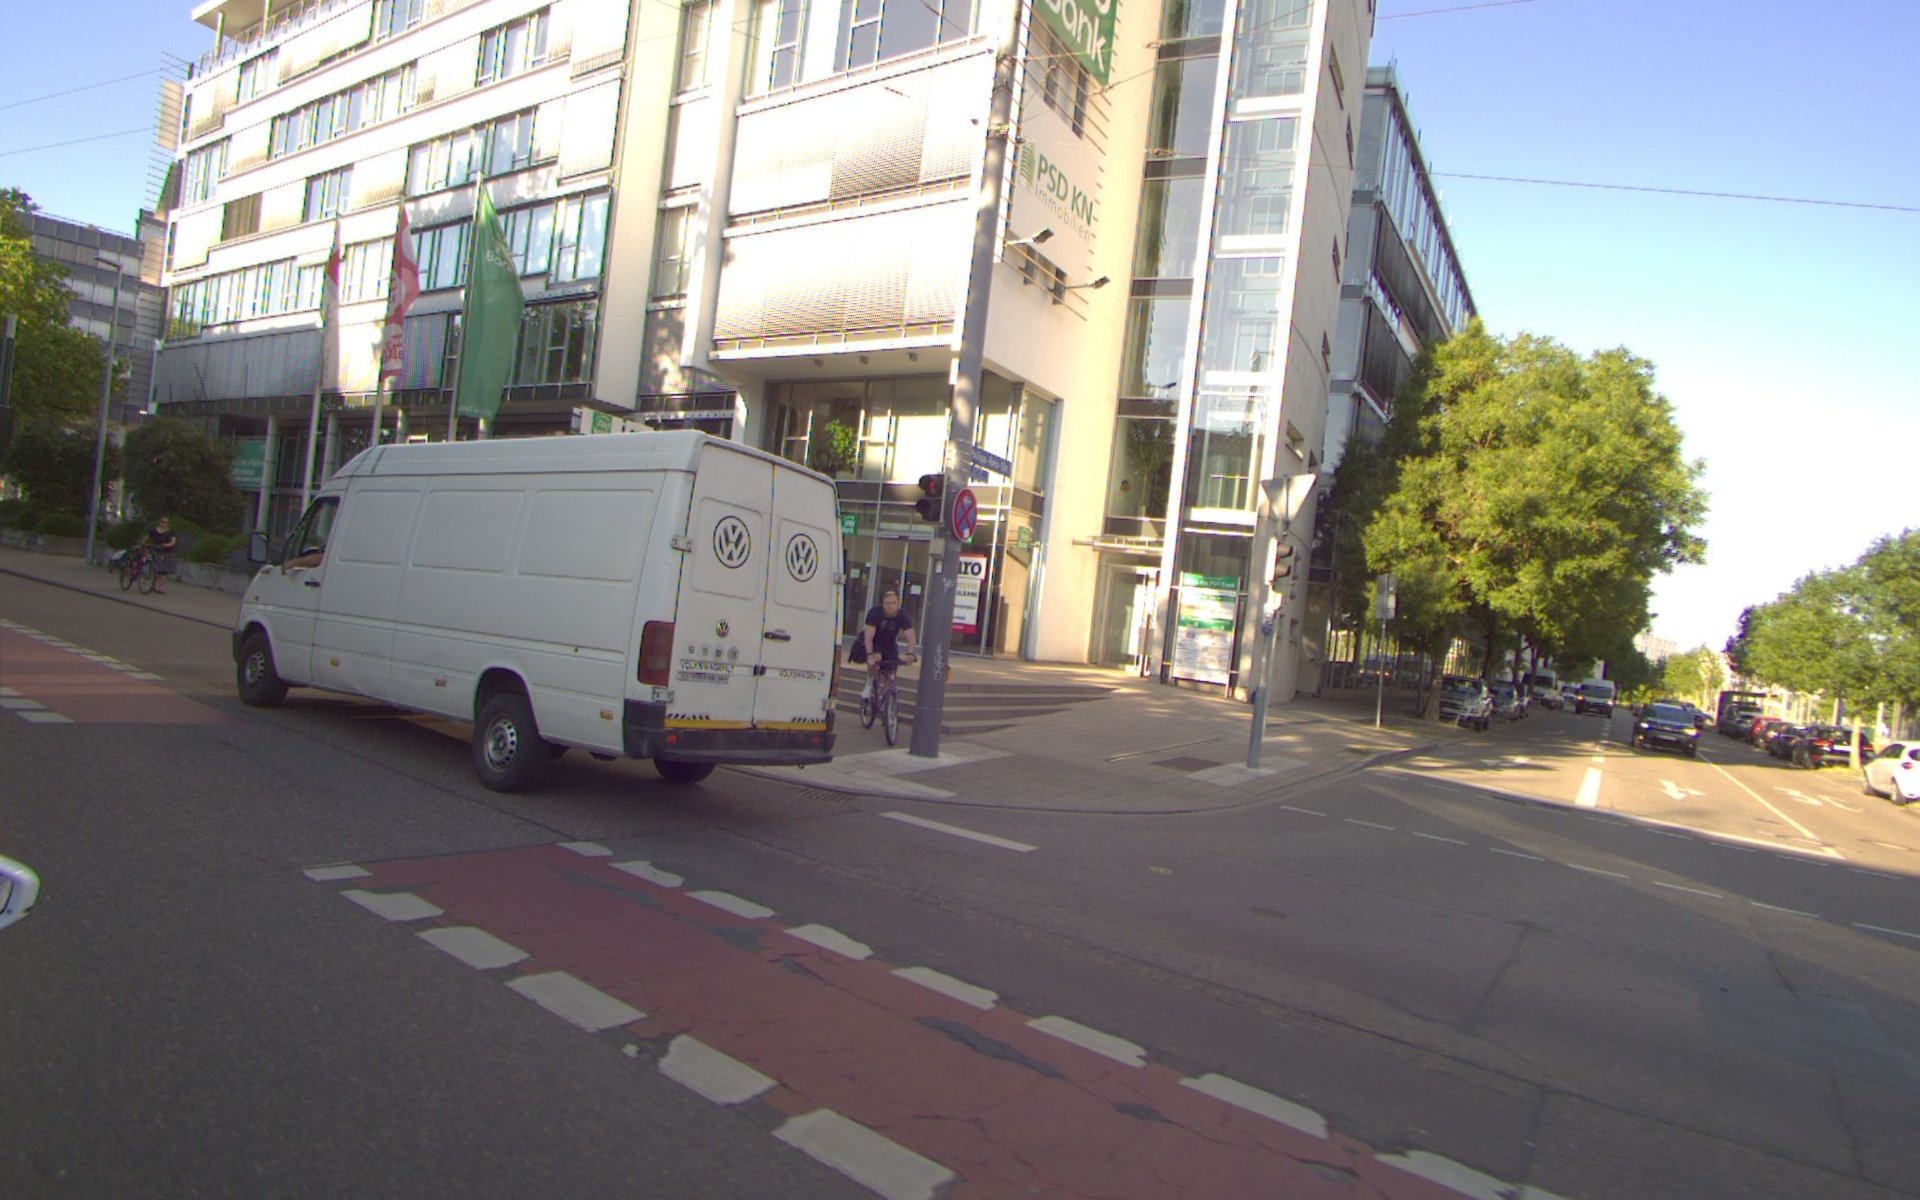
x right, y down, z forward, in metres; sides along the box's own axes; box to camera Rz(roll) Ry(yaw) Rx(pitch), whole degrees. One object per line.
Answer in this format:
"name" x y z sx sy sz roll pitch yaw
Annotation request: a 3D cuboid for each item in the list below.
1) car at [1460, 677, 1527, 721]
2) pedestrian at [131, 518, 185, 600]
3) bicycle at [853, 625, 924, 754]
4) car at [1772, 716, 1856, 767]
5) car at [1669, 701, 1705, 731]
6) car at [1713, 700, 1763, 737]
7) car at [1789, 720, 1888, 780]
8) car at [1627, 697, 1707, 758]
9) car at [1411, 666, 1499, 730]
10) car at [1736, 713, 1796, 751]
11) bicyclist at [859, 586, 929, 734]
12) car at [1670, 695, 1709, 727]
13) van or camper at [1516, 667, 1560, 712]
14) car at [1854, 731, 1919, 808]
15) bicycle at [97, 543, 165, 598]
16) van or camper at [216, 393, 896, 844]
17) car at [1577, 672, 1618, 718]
"car" 22.502 4.155 42.364 1.955 1.513 4.392 6 -1 33
"pedestrian" -17.508 -0.892 21.960 0.641 1.701 0.646 7 0 35
"bicycle" -0.837 1.032 12.252 0.640 1.297 1.864 7 2 -2
"car" 34.465 5.673 40.696 1.968 1.620 3.991 6 -1 33
"car" 55.372 8.866 76.660 1.969 1.932 3.992 6 -3 35
"car" 48.321 7.301 62.511 1.968 1.945 3.991 6 -1 33
"car" 31.046 5.251 35.673 1.968 1.620 3.991 6 -1 33
"car" 24.763 4.413 35.363 1.955 1.716 3.991 8 0 33
"car" 16.179 3.168 32.773 1.955 1.716 3.991 7 -1 33
"car" 42.322 6.894 52.902 1.968 1.620 3.991 6 -1 33
"bicyclist" -0.789 0.719 12.340 0.640 1.692 0.863 6 0 -2
"car" 52.301 8.003 72.220 1.969 1.932 3.992 6 -3 35
"van or camper" 37.199 5.768 64.700 1.955 2.534 4.392 7 -1 33
"car" 24.114 4.293 25.129 1.968 1.632 3.991 6 -1 33
"bicycle" -17.848 -0.650 21.639 2.166 0.988 0.520 7 4 34
"van or camper" -3.754 -0.077 8.612 6.203 2.748 1.971 6 -1 33
"car" 42.867 6.451 67.665 2.022 2.704 5.011 6 -2 33
